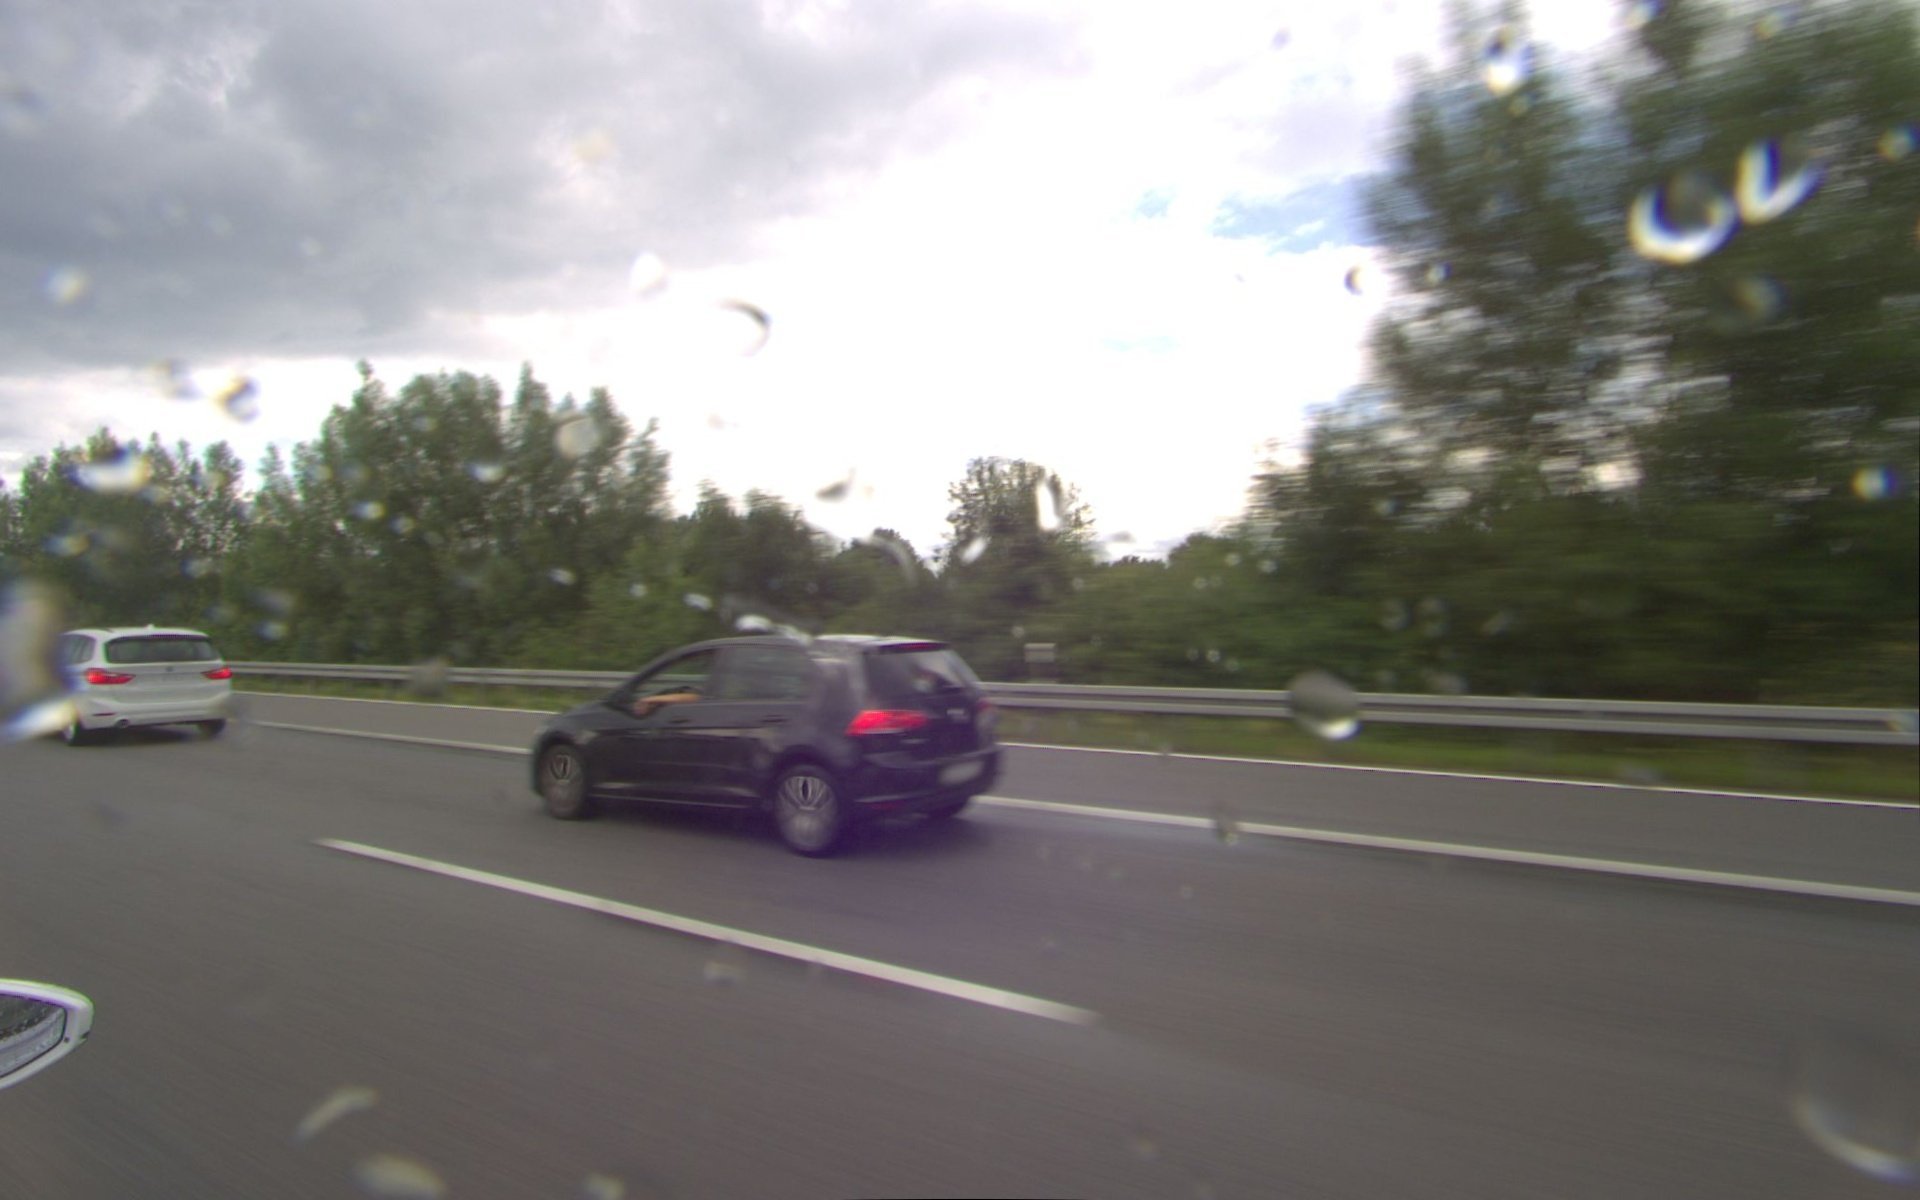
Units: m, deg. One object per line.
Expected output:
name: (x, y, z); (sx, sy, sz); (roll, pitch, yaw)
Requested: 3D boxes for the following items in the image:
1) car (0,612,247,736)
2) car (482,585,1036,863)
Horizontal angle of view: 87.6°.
car: (-12.796, 1.032, 15.118); (4.631, 1.619, 1.806); (-1, -1, 34)
car: (-1.732, 0.798, 7.897); (4.395, 1.652, 1.703); (-1, -1, 34)
